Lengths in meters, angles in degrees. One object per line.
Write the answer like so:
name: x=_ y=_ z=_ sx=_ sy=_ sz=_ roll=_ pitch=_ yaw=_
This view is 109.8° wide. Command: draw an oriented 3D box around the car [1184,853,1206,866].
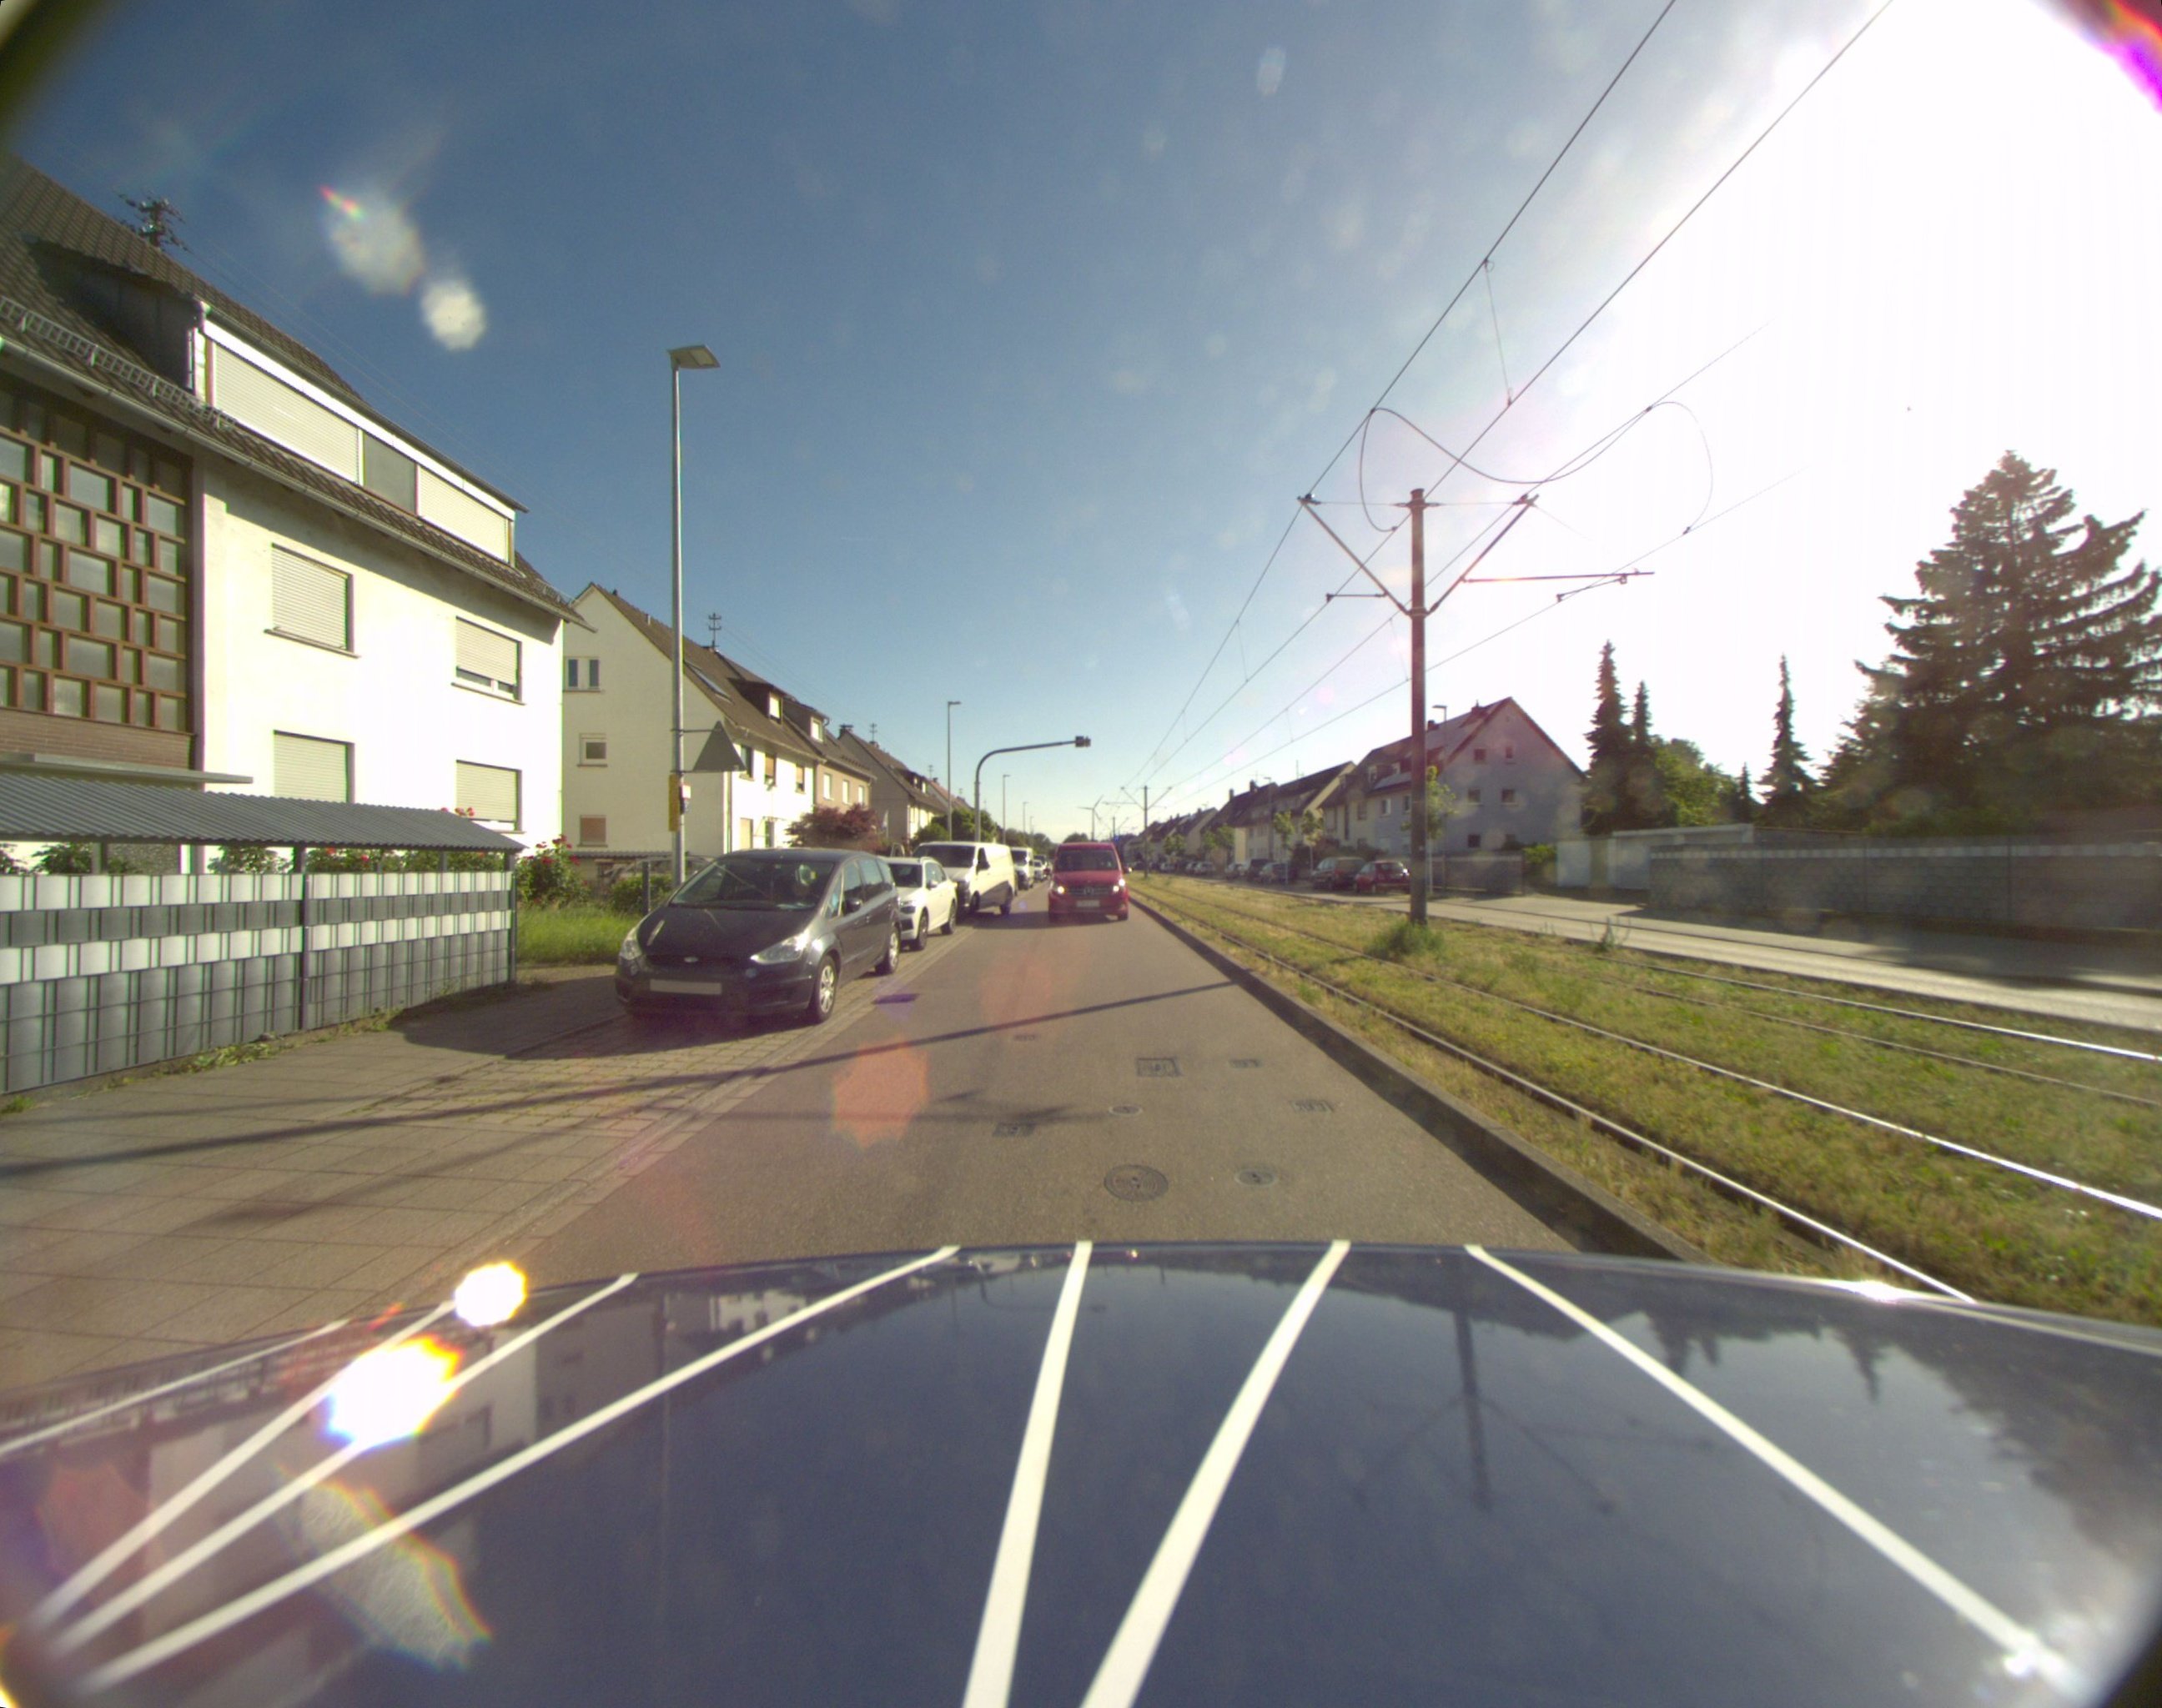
car: x=13.147 y=0.643 z=87.805 sx=1.693 sy=1.464 sz=4.313 roll=-2 pitch=0 yaw=-3

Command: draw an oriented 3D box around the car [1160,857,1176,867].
car: x=12.641 y=1.116 z=110.876 sx=1.662 sy=1.428 sz=4.102 roll=-1 pitch=0 yaw=-3

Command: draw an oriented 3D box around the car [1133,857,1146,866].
car: x=11.115 y=1.421 z=145.124 sx=1.926 sy=1.551 sz=4.857 roll=-2 pitch=0 yaw=-3

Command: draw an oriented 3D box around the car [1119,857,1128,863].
car: x=9.493 y=1.373 z=170.284 sx=1.705 sy=1.389 sz=4.091 roll=-2 pitch=0 yaw=-2

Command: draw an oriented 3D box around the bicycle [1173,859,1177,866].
bicycle: x=14.503 y=1.303 z=117.576 sx=0.478 sy=1.156 sz=1.872 roll=-1 pitch=0 yaw=4

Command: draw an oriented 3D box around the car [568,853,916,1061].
car: x=-3.257 y=0.842 z=8.557 sx=1.796 sy=1.619 sz=4.860 roll=2 pitch=0 yaw=-1

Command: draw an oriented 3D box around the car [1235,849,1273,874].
car: x=13.441 y=0.531 z=59.280 sx=1.750 sy=1.812 sz=4.841 roll=-2 pitch=0 yaw=0

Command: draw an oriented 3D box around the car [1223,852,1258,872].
car: x=13.550 y=0.641 z=64.760 sx=1.965 sy=1.531 sz=4.556 roll=-2 pitch=0 yaw=-1

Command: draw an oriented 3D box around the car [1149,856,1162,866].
car: x=12.104 y=1.146 z=123.769 sx=1.623 sy=1.503 sz=4.084 roll=-1 pitch=0 yaw=-1

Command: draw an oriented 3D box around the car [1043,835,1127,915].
car: x=-0.019 y=0.489 z=20.944 sx=1.999 sy=1.889 sz=5.389 roll=-1 pitch=0 yaw=-2

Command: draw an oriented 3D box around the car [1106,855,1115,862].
car: x=7.314 y=1.060 z=186.638 sx=1.832 sy=1.522 sz=4.091 roll=-2 pitch=0 yaw=-2

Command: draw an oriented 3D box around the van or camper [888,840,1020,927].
van or camper: x=-3.083 y=0.675 z=19.802 sx=2.032 sy=1.945 sz=5.297 roll=0 pitch=0 yaw=6

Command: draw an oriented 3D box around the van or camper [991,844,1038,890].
van or camper: x=-3.484 y=0.635 z=40.977 sx=1.999 sy=2.258 sz=6.304 roll=1 pitch=0 yaw=0

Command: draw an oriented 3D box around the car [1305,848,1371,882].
car: x=13.508 y=0.550 z=40.262 sx=1.824 sy=1.674 sz=4.846 roll=-2 pitch=0 yaw=0

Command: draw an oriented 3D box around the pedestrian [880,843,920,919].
pedestrian: x=-4.596 y=0.673 z=19.359 sx=0.700 sy=1.901 sz=0.759 roll=-1 pitch=1 yaw=8

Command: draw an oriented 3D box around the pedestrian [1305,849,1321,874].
pedestrian: x=15.417 y=0.518 z=50.554 sx=0.697 sy=1.630 sz=0.919 roll=-2 pitch=1 yaw=-3

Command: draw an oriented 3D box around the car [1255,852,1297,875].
car: x=13.621 y=0.656 z=53.346 sx=1.681 sy=1.482 sz=4.049 roll=-2 pitch=0 yaw=-3

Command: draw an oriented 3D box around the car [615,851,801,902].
car: x=-11.307 y=0.659 z=23.298 sx=4.724 sy=1.469 sz=1.906 roll=0 pitch=1 yaw=-2

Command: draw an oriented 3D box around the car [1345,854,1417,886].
car: x=13.618 y=0.703 z=34.764 sx=1.699 sy=1.396 sz=4.078 roll=0 pitch=0 yaw=0

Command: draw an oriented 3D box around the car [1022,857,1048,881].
car: x=-3.441 y=1.107 z=57.434 sx=1.730 sy=1.636 sz=4.318 roll=2 pitch=0 yaw=-1

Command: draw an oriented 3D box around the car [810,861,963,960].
car: x=-3.366 y=0.909 z=13.977 sx=1.660 sy=1.484 sz=4.159 roll=0 pitch=0 yaw=1

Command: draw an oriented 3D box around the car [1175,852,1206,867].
car: x=17.262 y=0.924 z=119.518 sx=4.472 sy=2.068 sz=1.787 roll=-3 pitch=1 yaw=-1

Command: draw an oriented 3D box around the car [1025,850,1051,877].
car: x=-3.541 y=0.782 z=63.336 sx=1.965 sy=2.131 sz=5.335 roll=1 pitch=0 yaw=-1

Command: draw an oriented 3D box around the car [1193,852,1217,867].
car: x=13.288 y=0.587 z=81.632 sx=1.693 sy=1.467 sz=4.441 roll=-2 pitch=0 yaw=-2
